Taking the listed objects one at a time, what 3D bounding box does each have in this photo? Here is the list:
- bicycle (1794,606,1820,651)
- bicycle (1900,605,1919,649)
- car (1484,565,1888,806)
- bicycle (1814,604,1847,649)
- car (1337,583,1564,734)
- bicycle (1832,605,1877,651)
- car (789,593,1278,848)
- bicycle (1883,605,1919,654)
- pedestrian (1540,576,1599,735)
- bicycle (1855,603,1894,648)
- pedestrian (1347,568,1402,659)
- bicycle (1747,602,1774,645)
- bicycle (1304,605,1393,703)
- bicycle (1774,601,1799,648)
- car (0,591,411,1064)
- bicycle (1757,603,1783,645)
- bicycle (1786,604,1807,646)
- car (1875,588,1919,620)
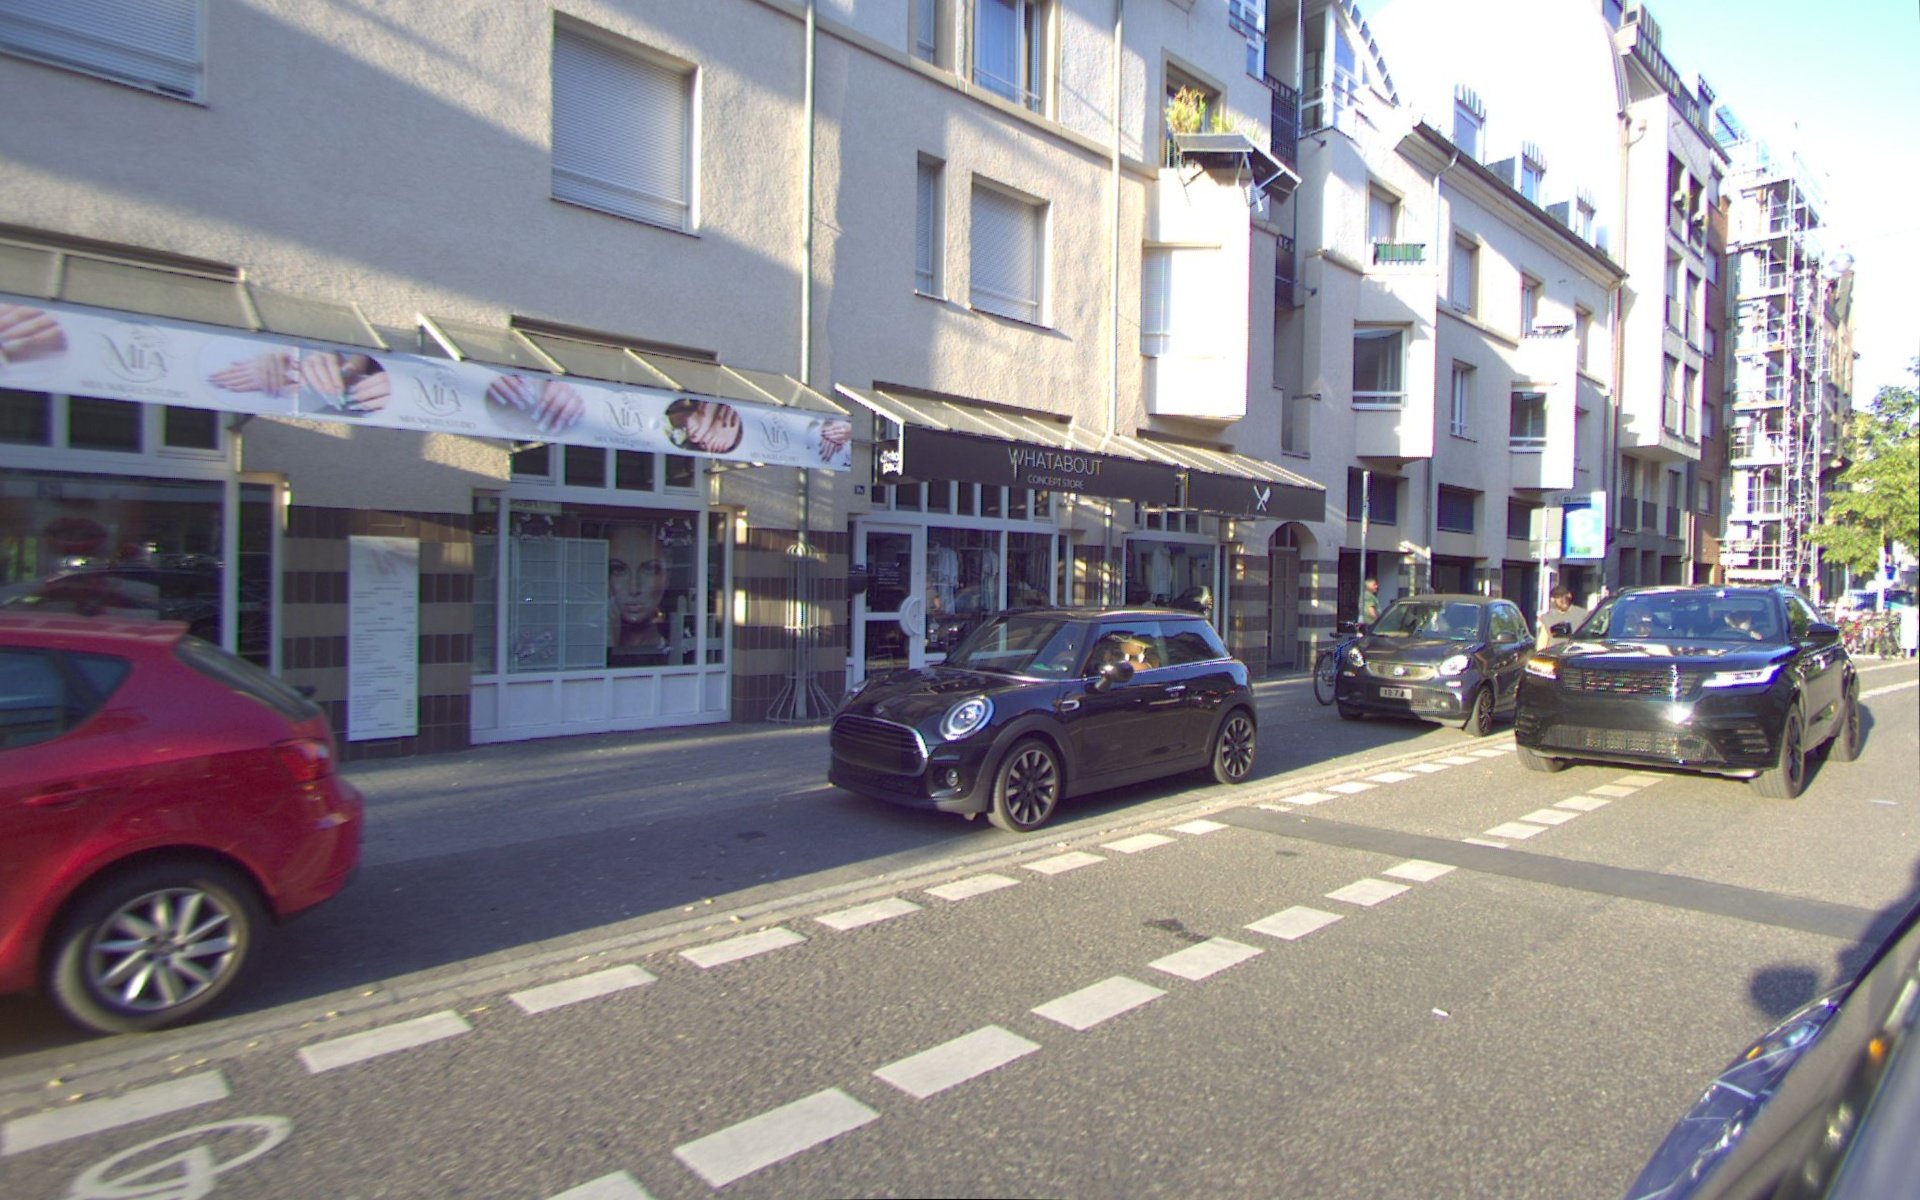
[{"bbox_3d":[22.171,0.729,26.491,1.498,1.114,0.382,-1,1,-45],"label":"bicycle"},{"bbox_3d":[24.739,0.687,26.272,1.498,1.114,0.382,0,1,-44],"label":"bicycle"},{"bbox_3d":[6.820,0.588,9.302,4.592,1.676,1.998,0,0,-41],"label":"car"},{"bbox_3d":[22.692,0.683,26.380,1.537,1.114,0.382,0,1,-40],"label":"bicycle"},{"bbox_3d":[6.000,0.612,12.312,2.649,1.573,1.635,0,2,-44],"label":"car"},{"bbox_3d":[22.805,0.700,25.786,1.492,1.122,0.373,0,1,-29],"label":"bicycle"},{"bbox_3d":[0.709,0.694,7.782,3.693,1.442,1.636,0,2,-42],"label":"car"},{"bbox_3d":[23.421,0.720,25.112,1.535,1.155,0.364,0,1,-33],"label":"bicycle"},{"bbox_3d":[6.718,0.587,11.176,0.438,1.685,0.561,2,1,24],"label":"pedestrian"},{"bbox_3d":[24.108,0.658,26.694,0.379,1.114,1.508,1,1,28],"label":"bicycle"},{"bbox_3d":[7.743,0.236,18.901,0.798,1.667,0.606,0,0,-36],"label":"pedestrian"},{"bbox_3d":[21.676,0.620,27.391,1.498,1.114,0.382,-1,2,-45],"label":"bicycle"},{"bbox_3d":[5.405,0.709,14.019,1.795,1.249,0.397,0,2,-44],"label":"bicycle"},{"bbox_3d":[22.046,0.641,26.982,1.498,1.204,0.382,-1,0,-45],"label":"bicycle"},{"bbox_3d":[-4.172,0.726,3.367,3.863,1.454,1.707,0,2,-41],"label":"car"},{"bbox_3d":[22.784,0.663,28.470,1.498,1.114,0.382,0,1,-45],"label":"bicycle"},{"bbox_3d":[23.077,0.668,27.916,0.381,1.114,1.500,2,1,42],"label":"bicycle"},{"bbox_3d":[50.042,0.293,51.801,1.877,1.530,4.536,2,1,-40],"label":"car"}]
